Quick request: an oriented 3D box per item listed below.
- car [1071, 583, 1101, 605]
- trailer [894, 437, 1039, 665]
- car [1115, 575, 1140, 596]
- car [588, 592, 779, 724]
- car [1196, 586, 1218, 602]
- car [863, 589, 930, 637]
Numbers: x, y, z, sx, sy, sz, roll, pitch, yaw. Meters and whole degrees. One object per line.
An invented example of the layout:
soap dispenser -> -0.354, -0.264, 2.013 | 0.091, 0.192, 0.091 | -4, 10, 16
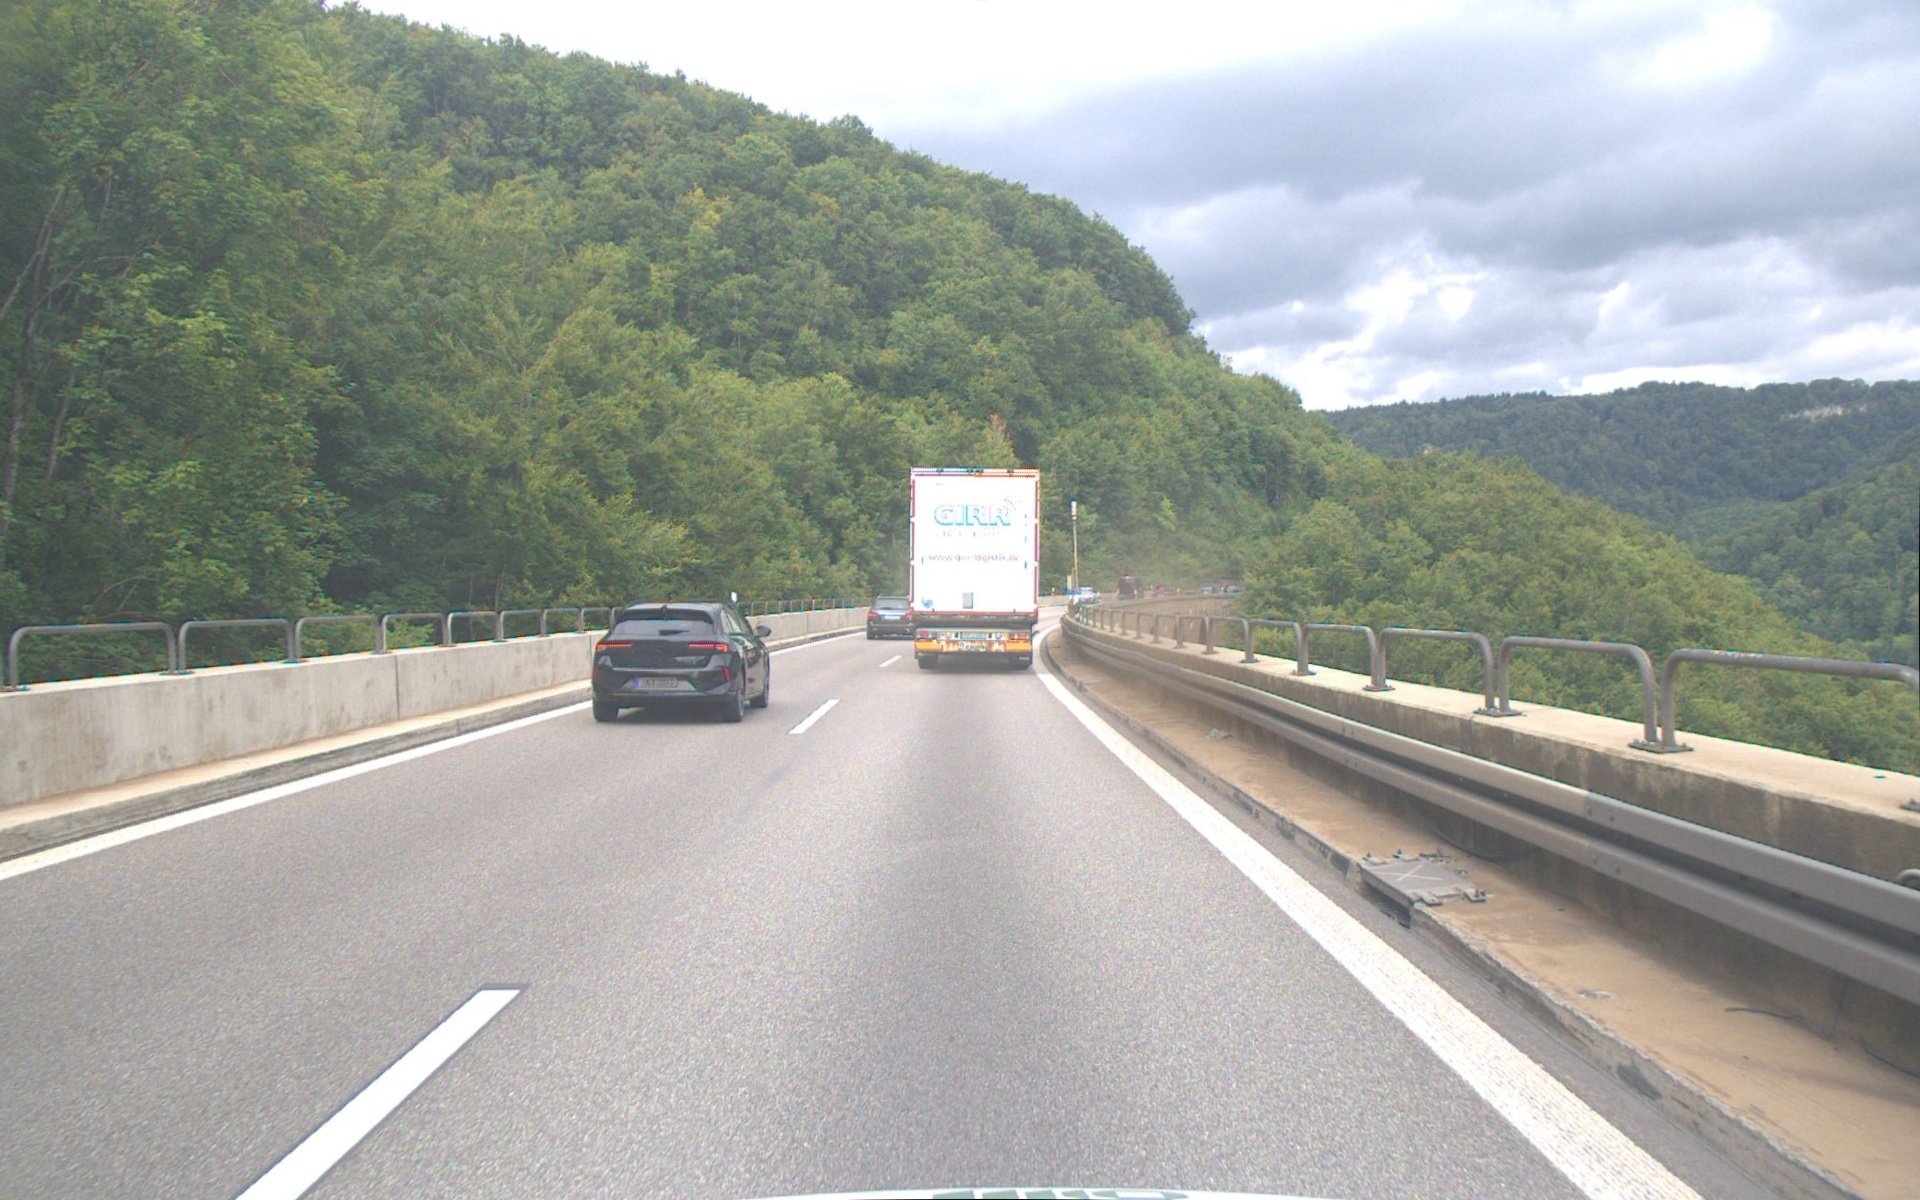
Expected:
car -> 11.016, -0.490, 144.555 | 1.951, 1.825, 4.003 | 0, -1, 14
trailer -> 0.274, -0.906, 37.961 | 2.755, 4.378, 12.246 | 0, 0, 1
car -> 16.999, -1.467, 167.944 | 1.951, 2.049, 4.003 | 0, -1, 14
car -> -3.385, 0.656, 21.049 | 1.737, 1.486, 4.580 | 0, 0, -1
car -> 29.104, -0.681, 195.038 | 1.952, 1.825, 4.001 | 0, -1, 18
car -> -2.126, 0.435, 56.520 | 1.844, 1.536, 4.421 | -1, 0, 4
